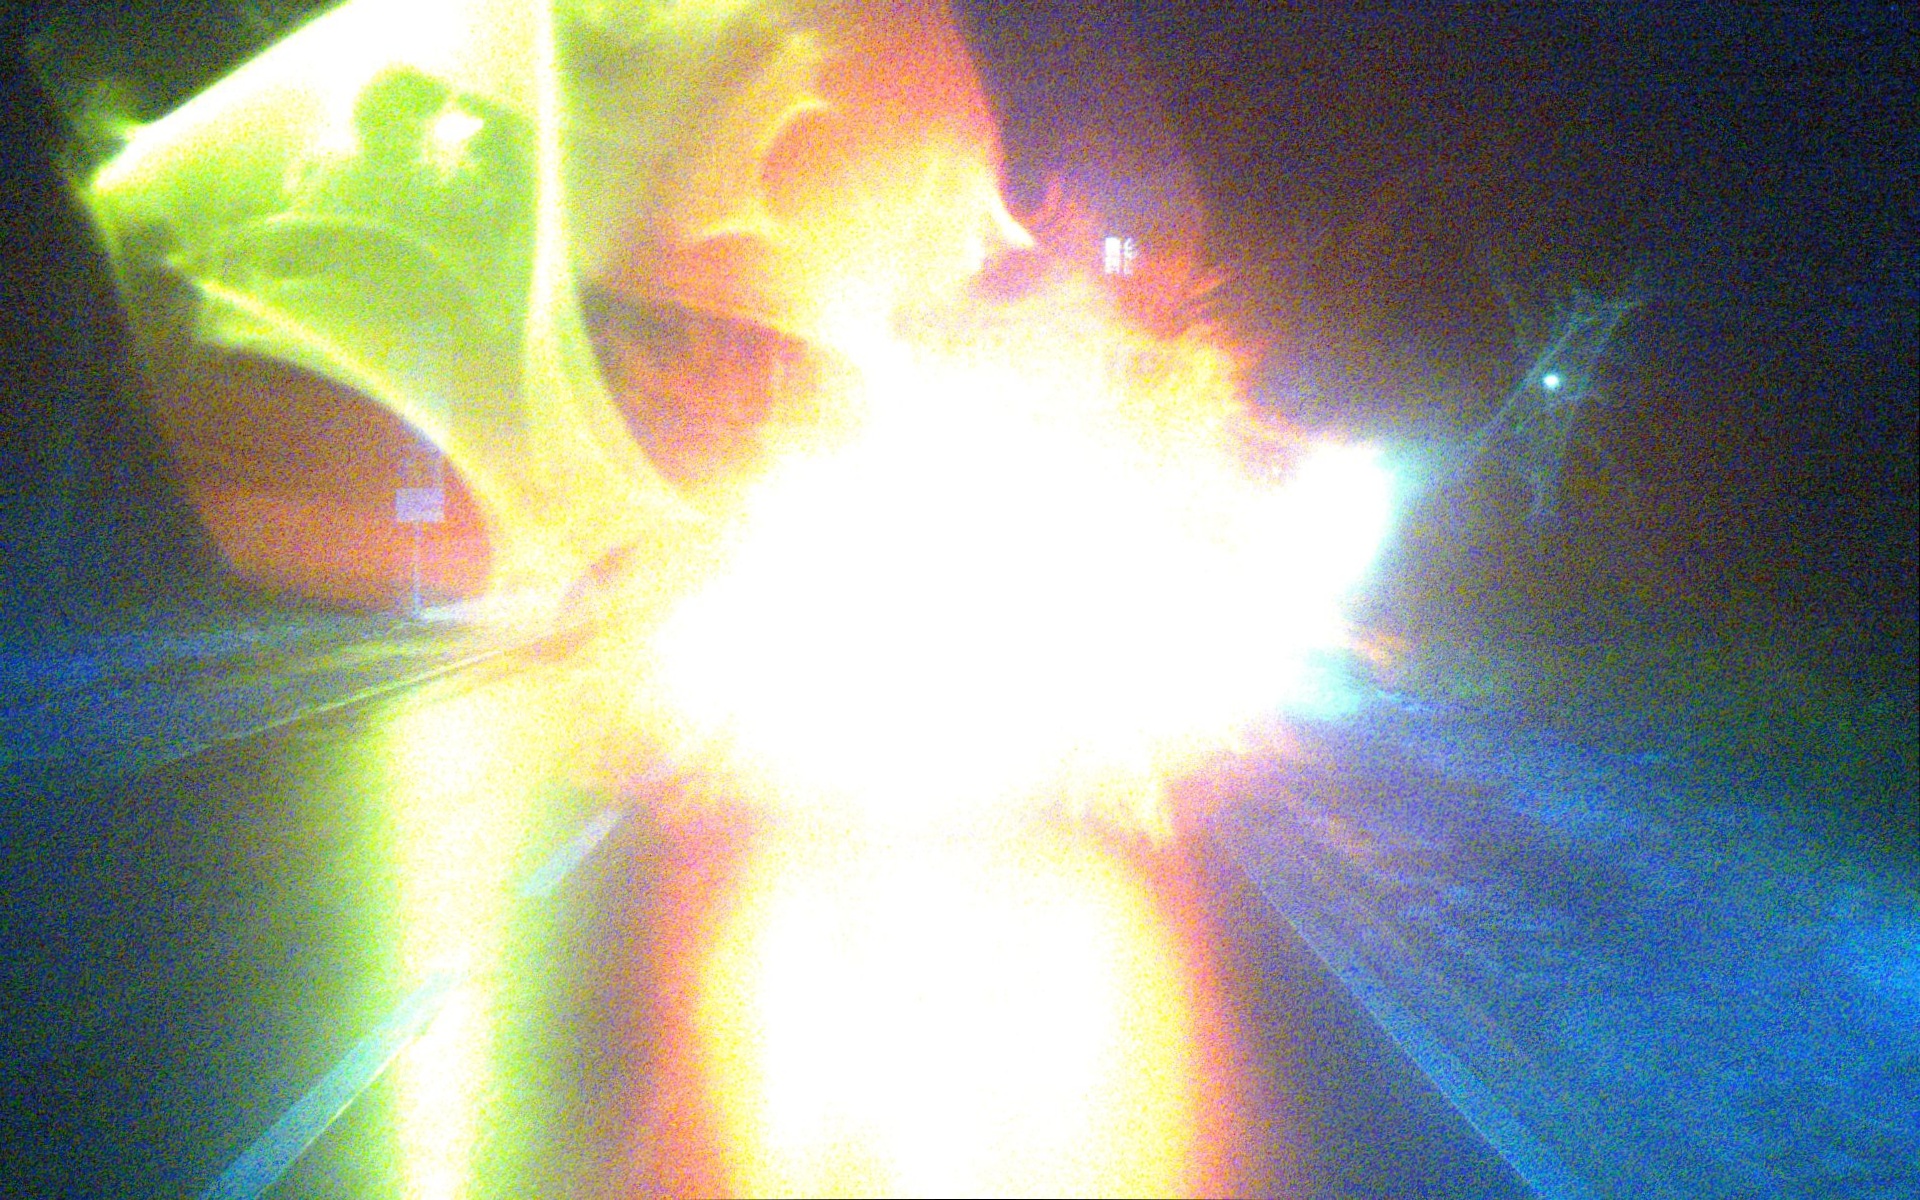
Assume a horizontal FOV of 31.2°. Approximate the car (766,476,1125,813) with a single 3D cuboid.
[{"bbox_3d":[-0.004,0.176,19.085,1.791,1.675,3.904,0,1,2],"label":"car"}]
